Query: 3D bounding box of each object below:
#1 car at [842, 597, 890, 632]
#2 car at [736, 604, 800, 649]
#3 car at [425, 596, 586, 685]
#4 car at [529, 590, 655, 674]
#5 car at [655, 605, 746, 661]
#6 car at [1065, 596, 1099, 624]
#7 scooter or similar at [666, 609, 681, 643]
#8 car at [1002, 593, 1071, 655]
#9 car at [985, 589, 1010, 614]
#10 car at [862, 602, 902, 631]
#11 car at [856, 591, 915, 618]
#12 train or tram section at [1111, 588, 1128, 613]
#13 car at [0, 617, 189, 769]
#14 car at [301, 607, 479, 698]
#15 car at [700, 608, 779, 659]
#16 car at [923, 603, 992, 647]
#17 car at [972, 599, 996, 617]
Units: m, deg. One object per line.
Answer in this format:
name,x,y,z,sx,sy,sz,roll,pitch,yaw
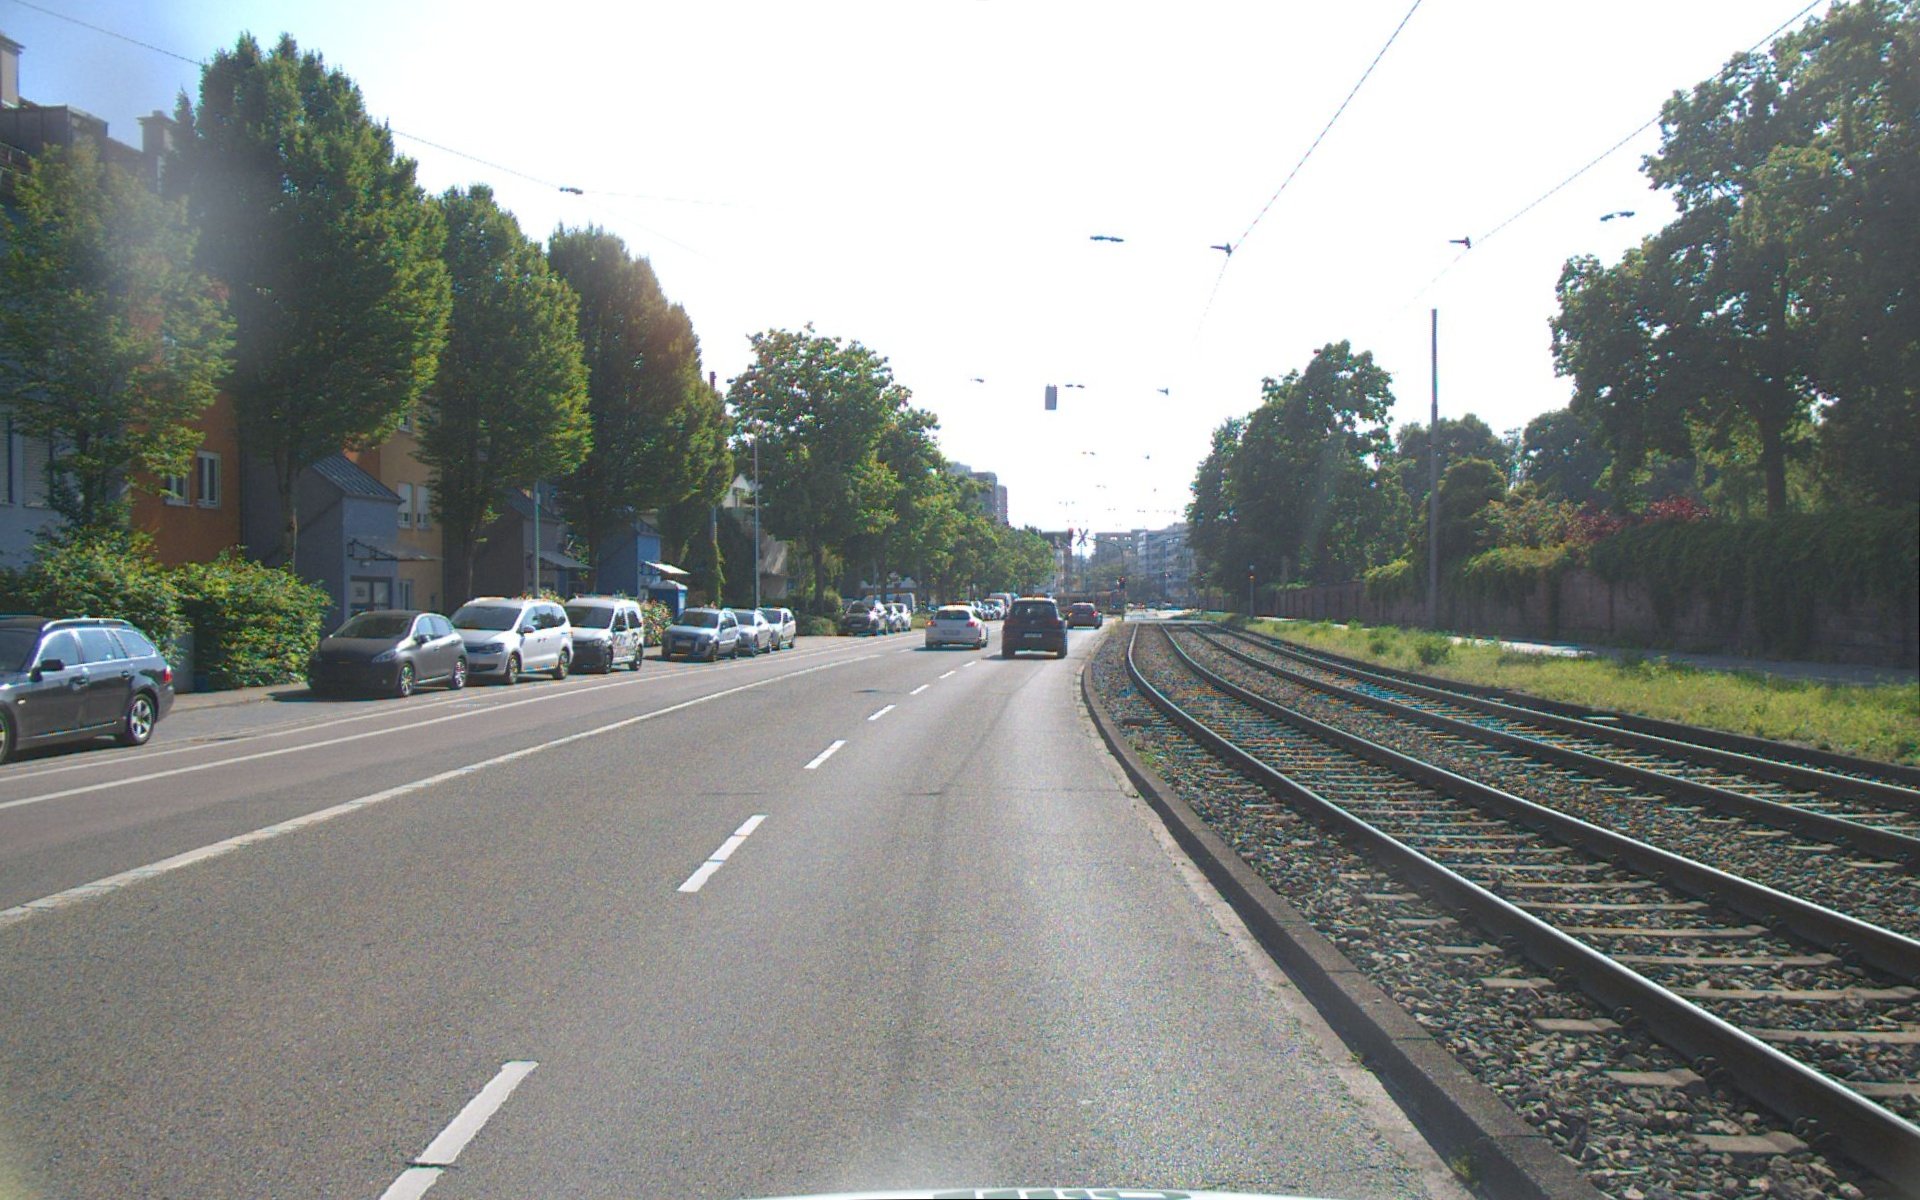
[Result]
car,-4.685,0.709,83.220,1.675,1.723,4.425,-1,0,7
car,-7.152,0.974,61.931,1.567,1.520,3.511,4,0,5
car,-9.622,0.811,35.415,1.633,1.730,4.827,1,0,6
car,-9.184,0.759,41.632,1.726,1.877,4.582,4,0,4
car,-8.047,0.989,51.647,1.726,1.565,3.984,4,0,6
car,6.935,0.550,93.868,1.773,1.474,4.003,1,0,6
scooter or similar,-10.180,0.921,58.802,0.287,1.174,1.043,-1,0,2
car,2.226,0.665,47.220,1.773,1.673,4.002,0,0,5
car,3.679,0.148,161.328,1.824,2.389,4.989,-1,0,8
car,-4.177,0.846,88.906,1.641,1.494,3.970,-1,0,4
car,-6.995,0.407,155.656,5.261,2.466,2.089,-1,0,6
train or tram section,23.684,0.050,244.858,2.277,3.632,8.906,-1,0,6
car,-10.701,0.982,18.364,1.674,1.497,4.912,2,0,4
car,-10.254,0.892,30.059,1.582,1.491,4.060,1,0,4
car,-7.463,1.113,56.478,1.712,1.537,4.758,4,0,3
car,-0.034,0.795,54.170,1.825,1.371,4.003,0,0,6
car,2.143,0.714,149.421,1.695,1.475,3.738,-1,0,8
